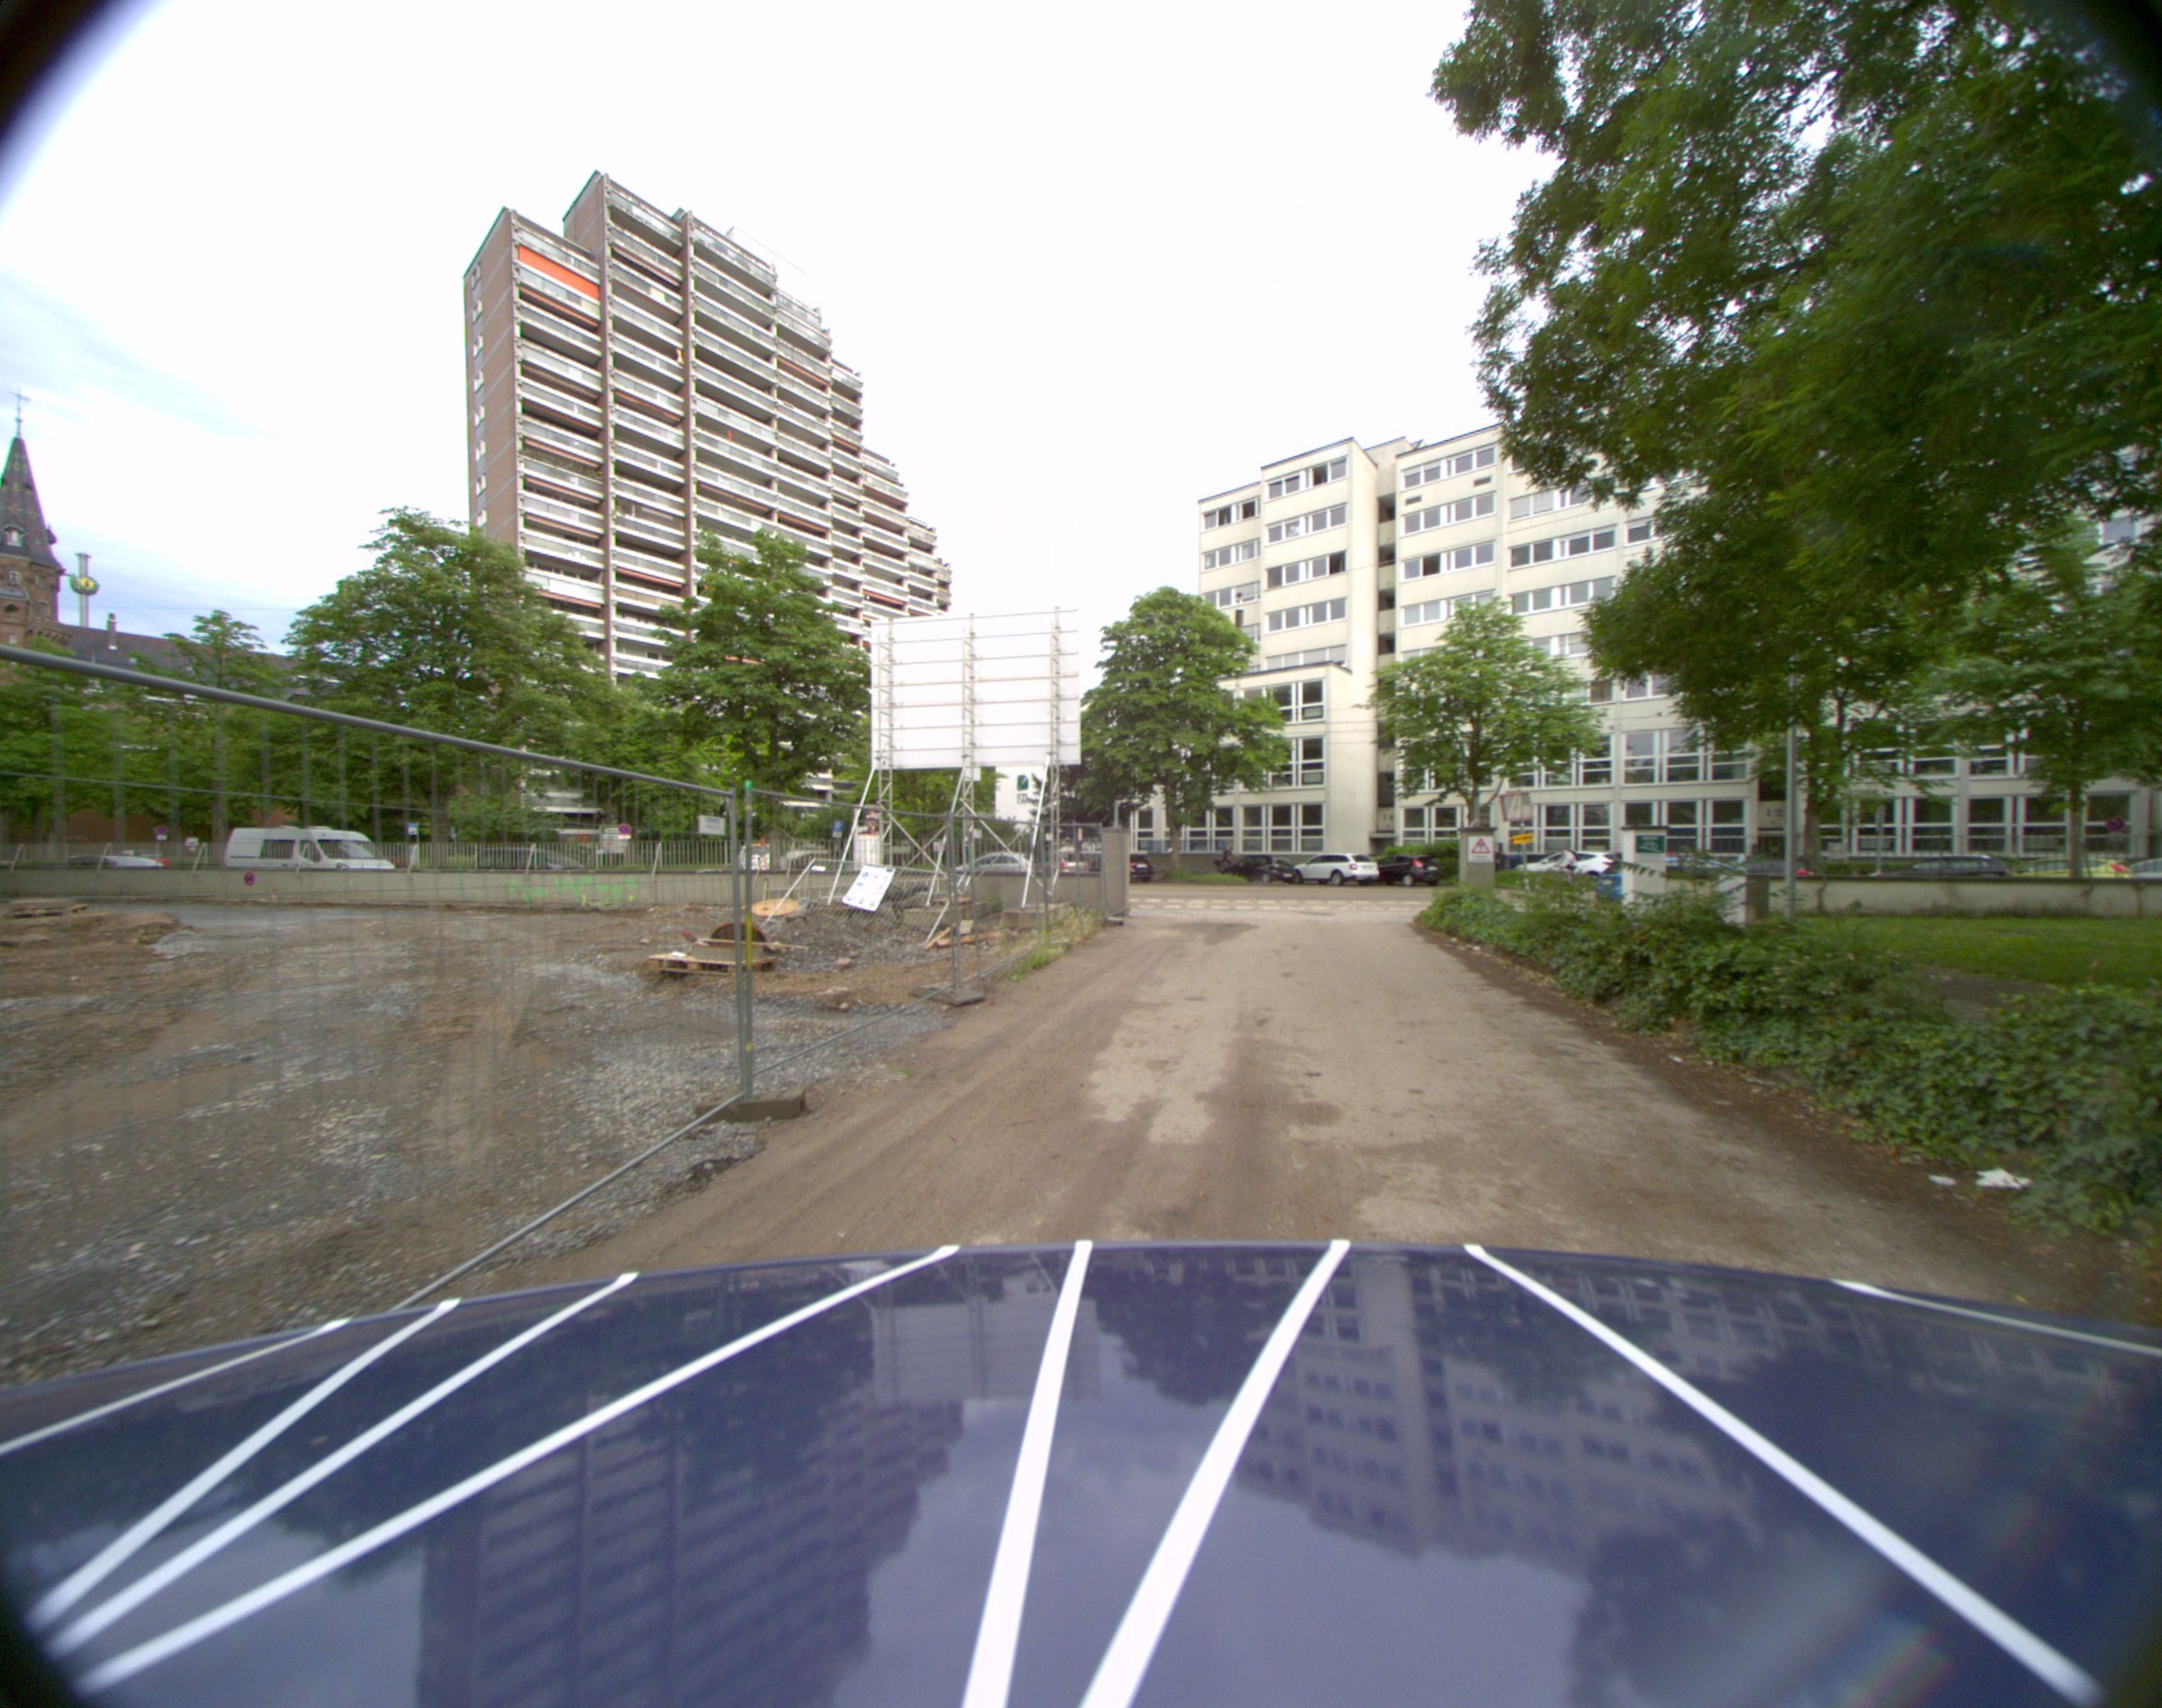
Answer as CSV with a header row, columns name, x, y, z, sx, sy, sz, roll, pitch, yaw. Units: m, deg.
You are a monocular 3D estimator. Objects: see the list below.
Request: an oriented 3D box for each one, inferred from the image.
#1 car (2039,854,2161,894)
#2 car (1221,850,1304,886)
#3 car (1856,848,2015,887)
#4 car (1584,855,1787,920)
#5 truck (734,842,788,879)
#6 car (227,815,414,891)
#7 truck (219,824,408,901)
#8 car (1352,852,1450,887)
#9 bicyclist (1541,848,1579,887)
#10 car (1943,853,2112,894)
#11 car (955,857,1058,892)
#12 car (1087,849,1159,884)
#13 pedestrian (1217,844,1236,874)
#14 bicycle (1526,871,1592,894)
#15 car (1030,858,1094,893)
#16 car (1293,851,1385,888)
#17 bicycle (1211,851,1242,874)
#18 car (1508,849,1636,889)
name,x,y,z,sx,sy,sz,roll,pitch,yaw
car,39.926,0.746,29.010,1.703,1.344,3.957,-2,2,-32
car,8.550,0.630,36.013,1.702,1.515,3.696,-2,2,-31
car,33.989,0.491,30.351,1.703,1.344,3.957,-2,2,-32
car,14.343,0.763,18.219,3.426,1.452,1.681,0,0,12
truck,-17.689,0.305,41.854,2.003,1.838,5.050,-1,2,-32
car,-27.495,-0.059,27.521,5.482,2.588,2.121,0,2,13
truck,-27.603,0.258,27.384,5.482,2.588,2.121,0,2,13
car,14.566,0.668,34.790,1.702,1.398,4.019,-1,2,-25
bicyclist,18.589,0.498,29.528,1.025,1.491,0.847,0,1,14
car,36.996,0.704,29.809,1.703,1.344,3.957,-2,2,-32
car,-3.113,0.827,32.088,3.993,1.420,1.748,0,1,13
car,1.971,0.561,36.817,1.702,1.515,3.696,-2,2,-31
pedestrian,8.152,0.290,42.485,0.753,1.603,0.735,3,4,34
bicycle,18.530,1.094,29.508,2.134,0.864,0.471,0,1,13
car,-0.981,1.022,37.722,1.575,1.515,3.641,-2,2,-31
car,11.827,0.659,35.075,1.702,1.476,4.019,-1,2,-25
bicycle,8.026,0.483,41.928,1.592,1.261,0.406,0,1,22
car,21.300,0.599,33.143,1.703,1.547,4.334,-2,3,-36
